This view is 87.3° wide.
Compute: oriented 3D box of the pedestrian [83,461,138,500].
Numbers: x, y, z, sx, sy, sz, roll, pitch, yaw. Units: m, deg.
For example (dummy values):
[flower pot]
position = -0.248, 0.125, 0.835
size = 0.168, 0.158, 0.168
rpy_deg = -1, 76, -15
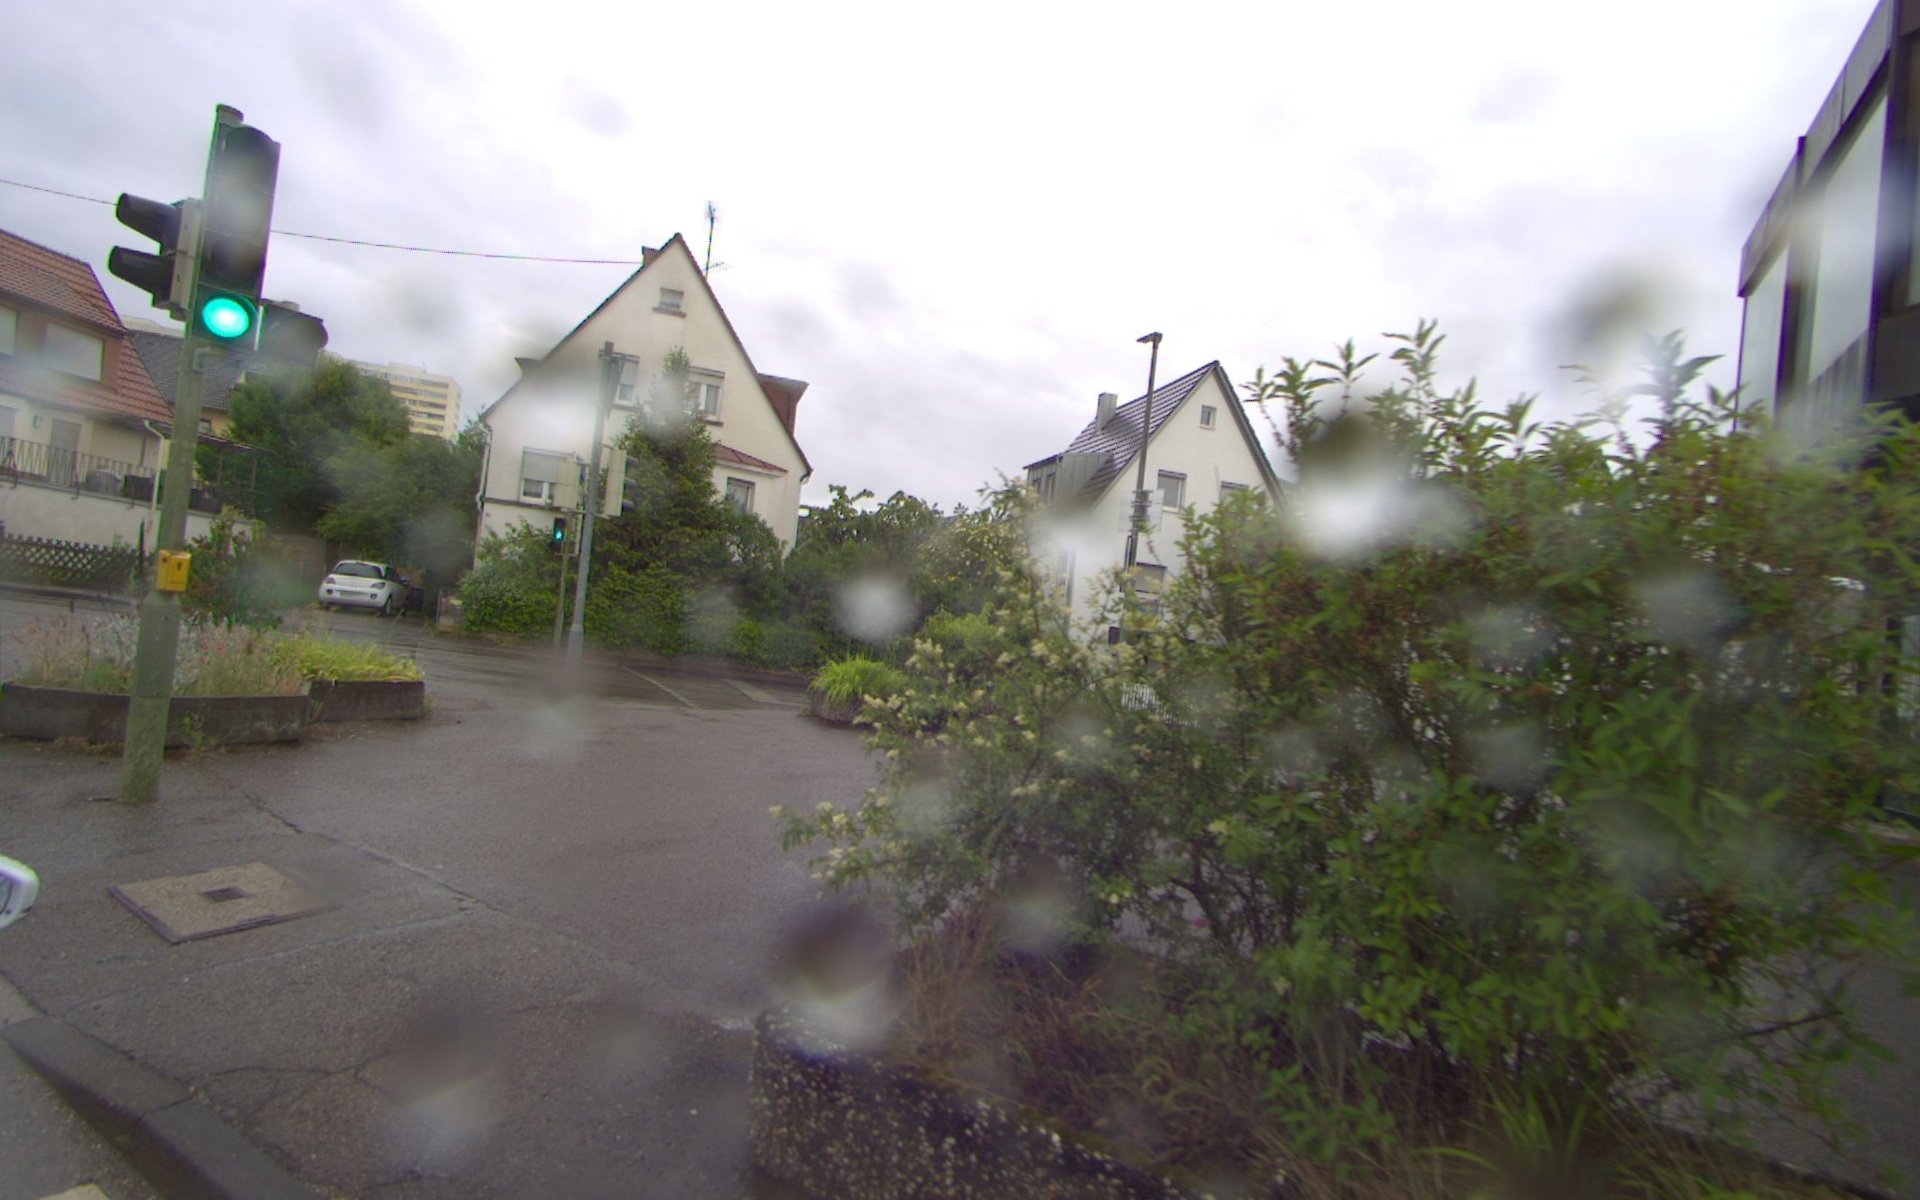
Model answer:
[pedestrian]
position = -23.733, -3.320, 28.103
size = 0.623, 0.892, 0.920
rpy_deg = 4, -2, 13

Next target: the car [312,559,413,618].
[car]
position = -17.193, -0.311, 29.122
size = 1.793, 1.378, 3.982
rpy_deg = 8, -3, -22
